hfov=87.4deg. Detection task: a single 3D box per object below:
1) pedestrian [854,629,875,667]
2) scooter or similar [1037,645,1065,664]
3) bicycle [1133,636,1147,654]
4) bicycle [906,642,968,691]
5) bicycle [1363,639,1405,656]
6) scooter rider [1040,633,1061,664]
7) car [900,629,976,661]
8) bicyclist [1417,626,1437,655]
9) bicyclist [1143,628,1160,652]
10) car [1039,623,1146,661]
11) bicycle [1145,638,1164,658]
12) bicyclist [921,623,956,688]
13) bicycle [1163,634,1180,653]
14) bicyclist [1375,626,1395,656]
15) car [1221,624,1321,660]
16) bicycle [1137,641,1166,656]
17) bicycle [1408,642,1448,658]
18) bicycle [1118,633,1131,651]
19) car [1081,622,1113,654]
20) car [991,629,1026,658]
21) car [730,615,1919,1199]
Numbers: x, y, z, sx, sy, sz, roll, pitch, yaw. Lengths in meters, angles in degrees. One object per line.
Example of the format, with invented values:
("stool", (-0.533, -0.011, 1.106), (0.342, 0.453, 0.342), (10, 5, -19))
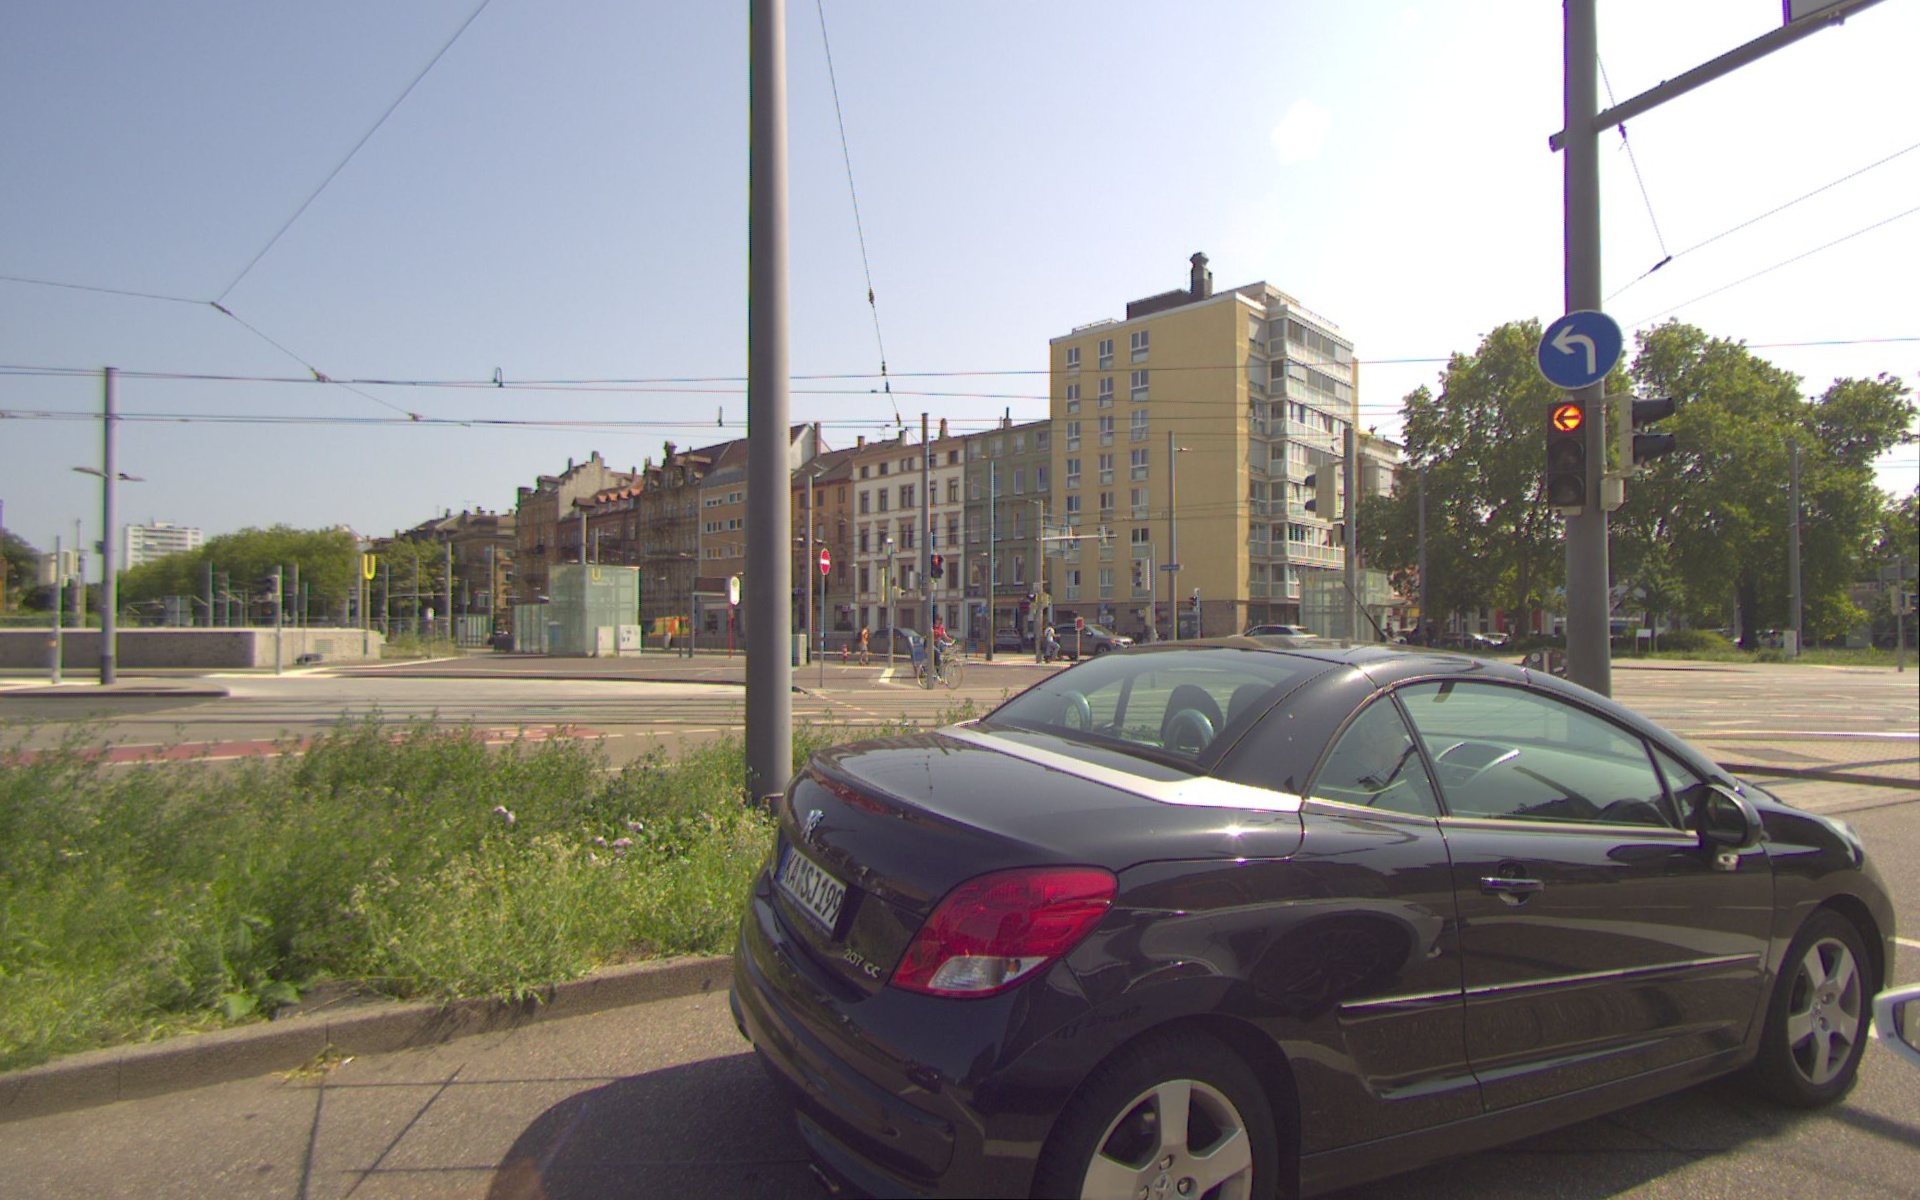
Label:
("pedestrian", (-4.049, 2.026, 42.460), (0.843, 1.563, 0.743), (0, -2, -6))
("scooter or similar", (3.993, 2.382, 44.035), (1.132, 0.835, 0.517), (1, -2, -35))
("bicycle", (12.218, 3.045, 68.232), (0.680, 1.220, 3.265), (0, -2, 5))
("bicycle", (-0.576, 1.578, 24.077), (0.499, 1.108, 1.918), (1, -2, -35))
("bicycle", (22.078, 2.463, 52.304), (0.476, 0.813, 2.030), (2, -2, -41))
("scooter rider", (3.980, 2.120, 44.145), (0.602, 1.371, 0.682), (1, -2, -35))
("car", (-1.194, 2.339, 53.028), (1.726, 1.581, 4.156), (2, -2, -42))
("bicyclist", (24.913, 2.148, 53.562), (0.861, 1.495, 0.543), (-1, -2, 43))
("bicyclist", (12.229, 2.549, 64.118), (0.900, 1.528, 0.556), (-1, -2, 42))
("car", (5.949, 1.866, 45.207), (4.463, 1.621, 1.768), (-1, -2, 30))
("bicycle", (13.011, 3.197, 67.204), (0.892, 1.220, 3.265), (0, -2, 5))
("bicyclist", (-0.520, 1.324, 24.153), (0.632, 1.529, 0.553), (1, -2, -36))
("bicycle", (13.914, 2.839, 66.236), (0.680, 1.220, 3.265), (0, -2, 5))
("bicyclist", (22.122, 2.125, 52.270), (0.494, 1.502, 0.863), (2, -2, -42))
("car", (14.853, 1.973, 48.072), (4.277, 1.639, 1.744), (-1, -2, 44))
("bicycle", (12.241, 3.077, 64.096), (1.794, 0.954, 0.565), (-1, -2, 42))
("bicycle", (24.928, 2.637, 53.531), (1.836, 0.813, 0.604), (-1, -2, 43))
("bicycle", (11.299, 2.864, 69.191), (0.680, 1.220, 2.793), (0, -2, 5))
("car", (8.455, 2.316, 61.893), (1.767, 1.951, 4.003), (0, -2, 11))
("car", (3.237, 2.846, 66.189), (1.767, 1.843, 4.003), (0, -2, 11))
("car", (1.310, 0.790, 3.301), (3.731, 1.406, 1.760), (1, 0, -26))
